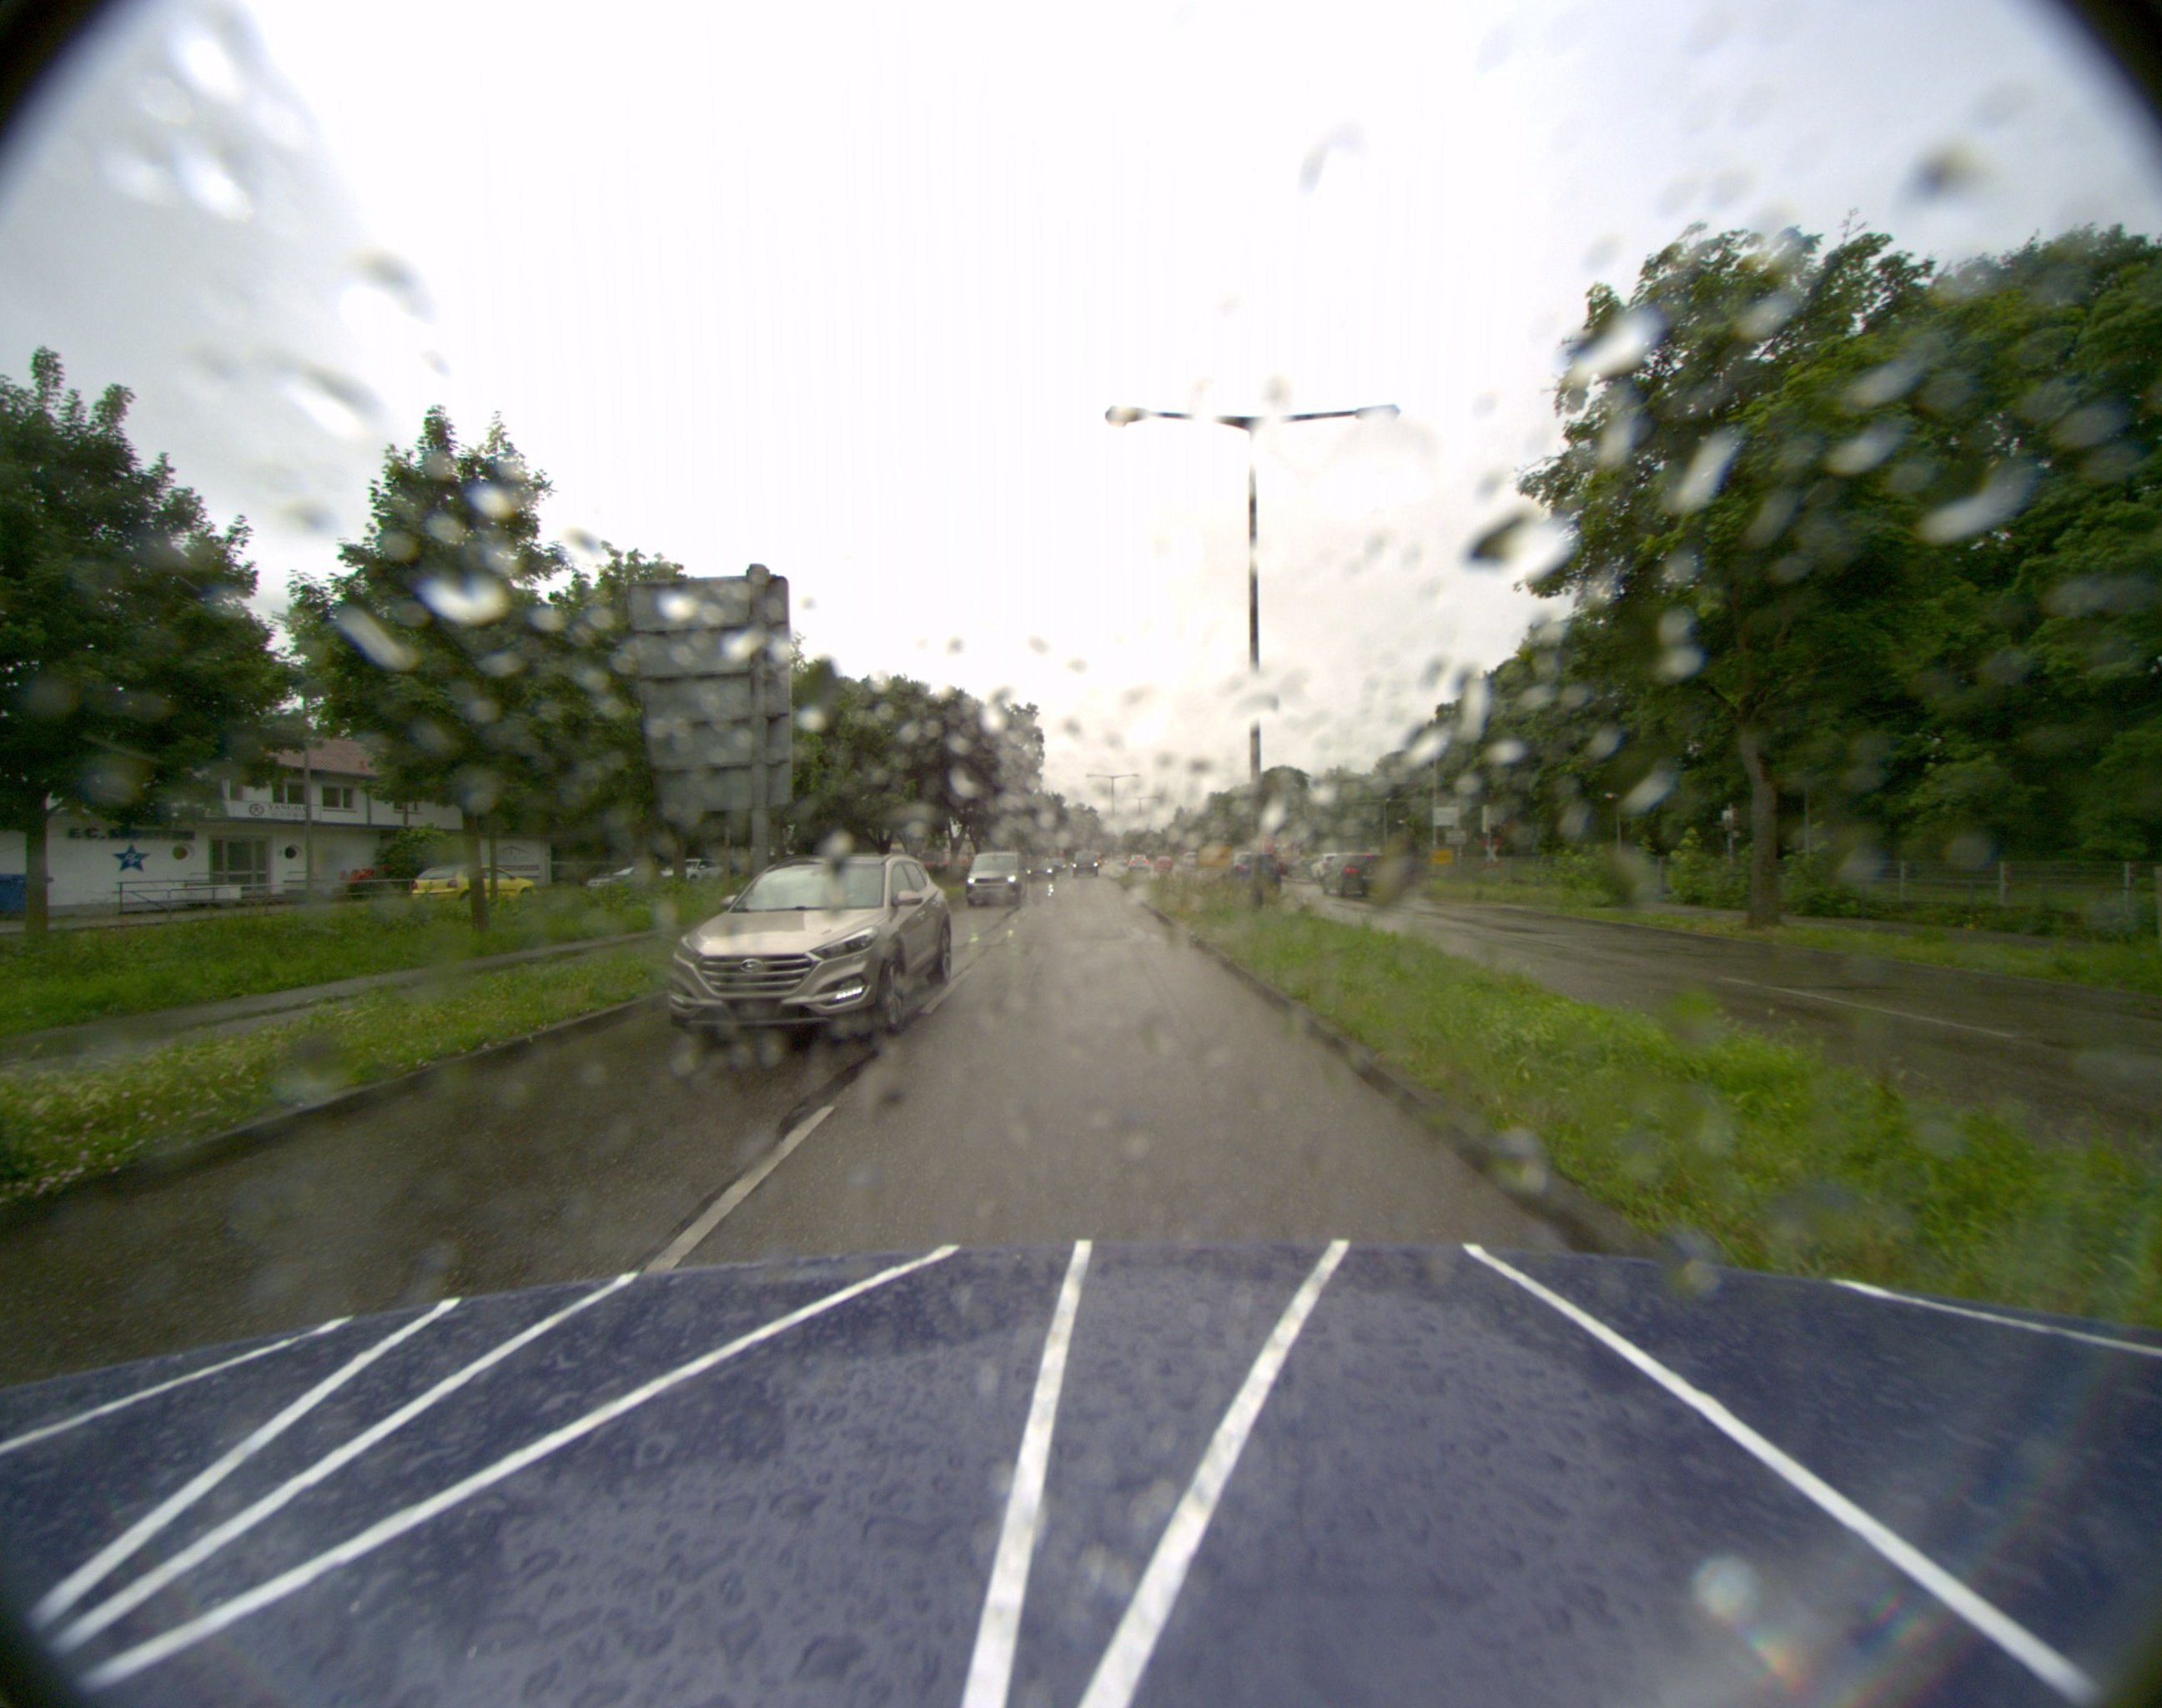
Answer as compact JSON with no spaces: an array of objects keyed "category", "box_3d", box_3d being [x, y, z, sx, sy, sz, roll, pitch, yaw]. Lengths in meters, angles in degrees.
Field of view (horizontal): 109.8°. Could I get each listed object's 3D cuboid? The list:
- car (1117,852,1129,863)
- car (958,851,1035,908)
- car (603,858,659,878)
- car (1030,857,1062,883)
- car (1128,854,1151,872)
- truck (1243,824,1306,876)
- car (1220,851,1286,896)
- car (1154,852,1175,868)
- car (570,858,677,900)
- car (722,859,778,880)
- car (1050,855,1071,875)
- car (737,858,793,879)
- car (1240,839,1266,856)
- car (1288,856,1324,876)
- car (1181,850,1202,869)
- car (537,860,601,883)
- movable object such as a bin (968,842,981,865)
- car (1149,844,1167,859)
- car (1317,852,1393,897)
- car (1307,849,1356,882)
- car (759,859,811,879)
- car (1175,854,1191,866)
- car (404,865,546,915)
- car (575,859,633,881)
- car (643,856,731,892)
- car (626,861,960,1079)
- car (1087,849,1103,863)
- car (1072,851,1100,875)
[{"category":"car","box_3d":[6.678,0.528,119.549,1.740,1.535,4.014,-1,1,5]},{"category":"car","box_3d":[-2.915,0.835,27.253,1.998,1.785,4.562,-2,0,2]},{"category":"car","box_3d":[-43.716,1.354,73.821,4.292,1.601,1.900,-3,1,4]},{"category":"car","box_3d":[-2.391,1.074,52.753,1.858,1.583,4.000,-3,1,2]},{"category":"car","box_3d":[5.547,0.843,72.612,1.965,1.607,4.698,-1,0,3]},{"category":"truck","box_3d":[17.304,-0.392,68.850,3.393,4.143,10.407,-3,1,3]},{"category":"car","box_3d":[6.684,0.711,29.950,1.748,1.640,4.136,1,0,2]},{"category":"car","box_3d":[8.638,0.605,78.742,1.805,1.560,4.428,1,1,2]},{"category":"car","box_3d":[-20.721,1.088,34.696,1.998,1.707,4.641,0,1,1]},{"category":"car","box_3d":[-27.275,1.265,62.689,1.665,1.441,3.759,-2,1,42]},{"category":"car","box_3d":[-1.895,0.998,70.549,1.651,1.652,3.777,-3,1,1]},{"category":"car","box_3d":[-25.489,1.139,61.353,1.665,1.441,3.759,-2,1,42]},{"category":"car","box_3d":[18.572,-0.717,82.054,1.998,1.699,4.527,-3,1,4]},{"category":"car","box_3d":[16.410,0.828,55.547,1.591,1.370,3.687,1,0,3]},{"category":"car","box_3d":[12.380,0.604,85.240,1.933,2.006,4.744,1,0,3]},{"category":"car","box_3d":[-35.023,1.152,52.114,1.587,1.377,3.999,-3,1,1]},{"category":"movable object such as a bin","box_3d":[-21.096,-0.053,150.240,1.557,4.401,3.910,-3,1,5]},{"category":"car","box_3d":[9.218,-0.300,91.489,1.810,1.763,5.090,0,0,3]},{"category":"car","box_3d":[10.589,0.736,29.650,1.710,1.632,4.332,1,0,5]},{"category":"car","box_3d":[15.594,0.664,47.514,1.997,1.817,4.774,-3,1,8]},{"category":"car","box_3d":[-23.058,1.156,59.334,3.395,1.344,1.521,-3,1,-43]},{"category":"car","box_3d":[13.524,0.772,100.756,1.645,1.419,4.000,1,1,1]},{"category":"car","box_3d":[-21.196,1.198,26.812,1.641,1.477,4.072,-3,1,1]},{"category":"car","box_3d":[-32.666,1.088,52.120,1.576,1.308,3.701,-2,1,0]},{"category":"car","box_3d":[-20.630,1.020,40.057,1.998,1.707,4.878,0,1,1]},{"category":"car","box_3d":[-2.591,0.927,8.054,1.889,1.601,4.195,-1,0,0]},{"category":"car","box_3d":[1.866,0.252,98.909,1.898,1.602,4.001,-3,1,4]},{"category":"car","box_3d":[0.406,0.631,58.366,1.812,1.683,3.777,-3,1,4]}]
